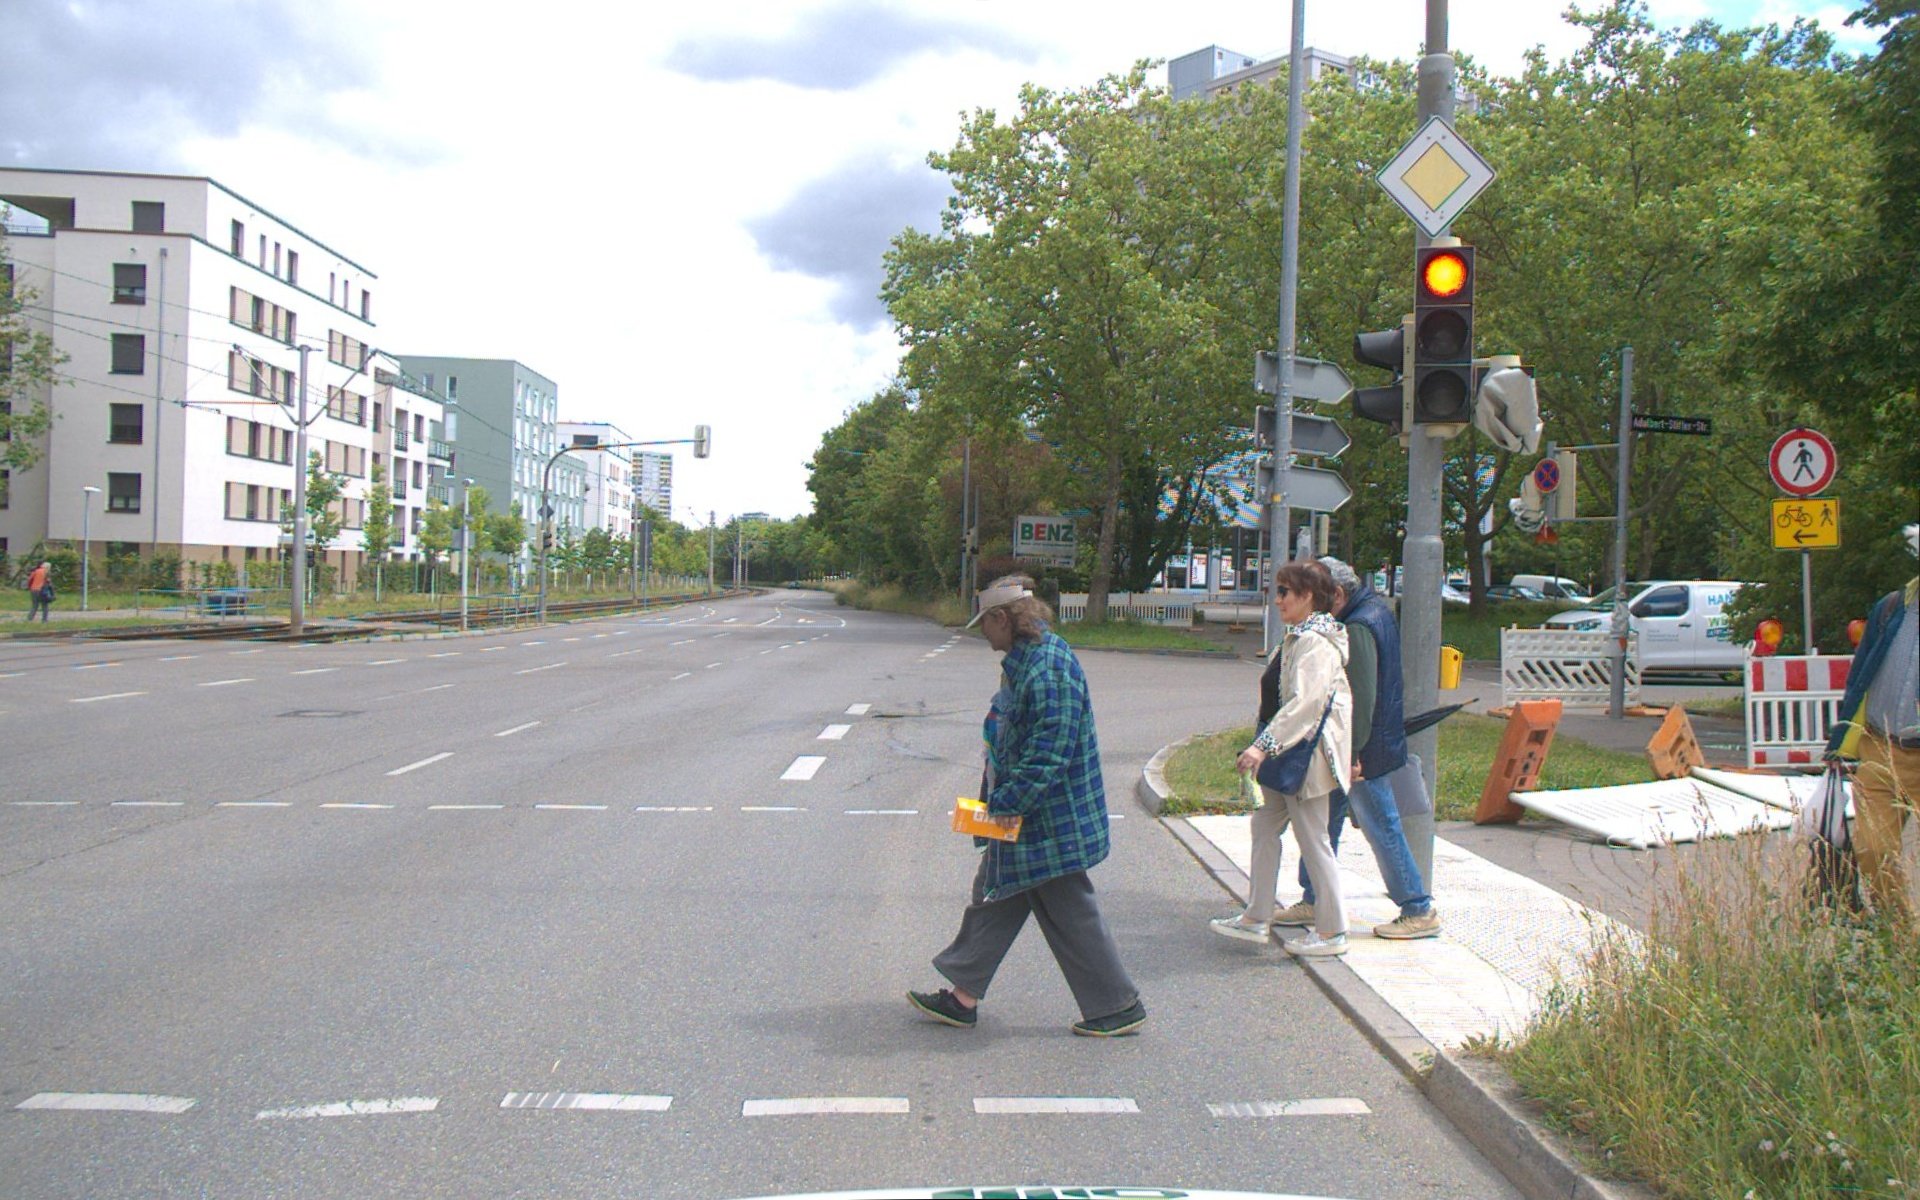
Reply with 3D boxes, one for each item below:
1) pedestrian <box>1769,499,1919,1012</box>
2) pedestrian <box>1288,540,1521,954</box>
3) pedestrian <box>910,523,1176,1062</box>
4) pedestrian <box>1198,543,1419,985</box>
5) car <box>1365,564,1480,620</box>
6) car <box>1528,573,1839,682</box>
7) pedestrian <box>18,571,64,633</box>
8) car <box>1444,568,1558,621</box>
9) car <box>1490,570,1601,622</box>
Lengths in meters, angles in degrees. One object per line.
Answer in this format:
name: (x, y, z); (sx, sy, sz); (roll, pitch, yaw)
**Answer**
pedestrian: (3.602, 0.545, 6.278); (0.927, 1.805, 1.012); (1, 0, 26)
pedestrian: (1.880, 0.589, 7.112); (0.850, 1.663, 0.766); (1, 0, 7)
pedestrian: (0.253, 0.608, 5.600); (0.806, 1.700, 0.733); (1, 0, -4)
pedestrian: (1.384, 0.617, 6.692); (0.805, 1.668, 0.734); (1, 0, 9)
car: (17.524, -0.322, 62.833); (1.974, 2.049, 3.957); (0, 1, -32)
car: (13.429, 0.495, 30.867); (4.976, 1.906, 1.947); (1, 0, -5)
pedestrian: (-23.210, 0.056, 41.781); (0.814, 1.542, 0.636); (1, 0, -1)
car: (21.369, -0.243, 65.467); (1.974, 2.049, 3.957); (0, 1, -32)
car: (23.936, -0.191, 67.703); (1.974, 2.049, 3.957); (0, 1, -32)
